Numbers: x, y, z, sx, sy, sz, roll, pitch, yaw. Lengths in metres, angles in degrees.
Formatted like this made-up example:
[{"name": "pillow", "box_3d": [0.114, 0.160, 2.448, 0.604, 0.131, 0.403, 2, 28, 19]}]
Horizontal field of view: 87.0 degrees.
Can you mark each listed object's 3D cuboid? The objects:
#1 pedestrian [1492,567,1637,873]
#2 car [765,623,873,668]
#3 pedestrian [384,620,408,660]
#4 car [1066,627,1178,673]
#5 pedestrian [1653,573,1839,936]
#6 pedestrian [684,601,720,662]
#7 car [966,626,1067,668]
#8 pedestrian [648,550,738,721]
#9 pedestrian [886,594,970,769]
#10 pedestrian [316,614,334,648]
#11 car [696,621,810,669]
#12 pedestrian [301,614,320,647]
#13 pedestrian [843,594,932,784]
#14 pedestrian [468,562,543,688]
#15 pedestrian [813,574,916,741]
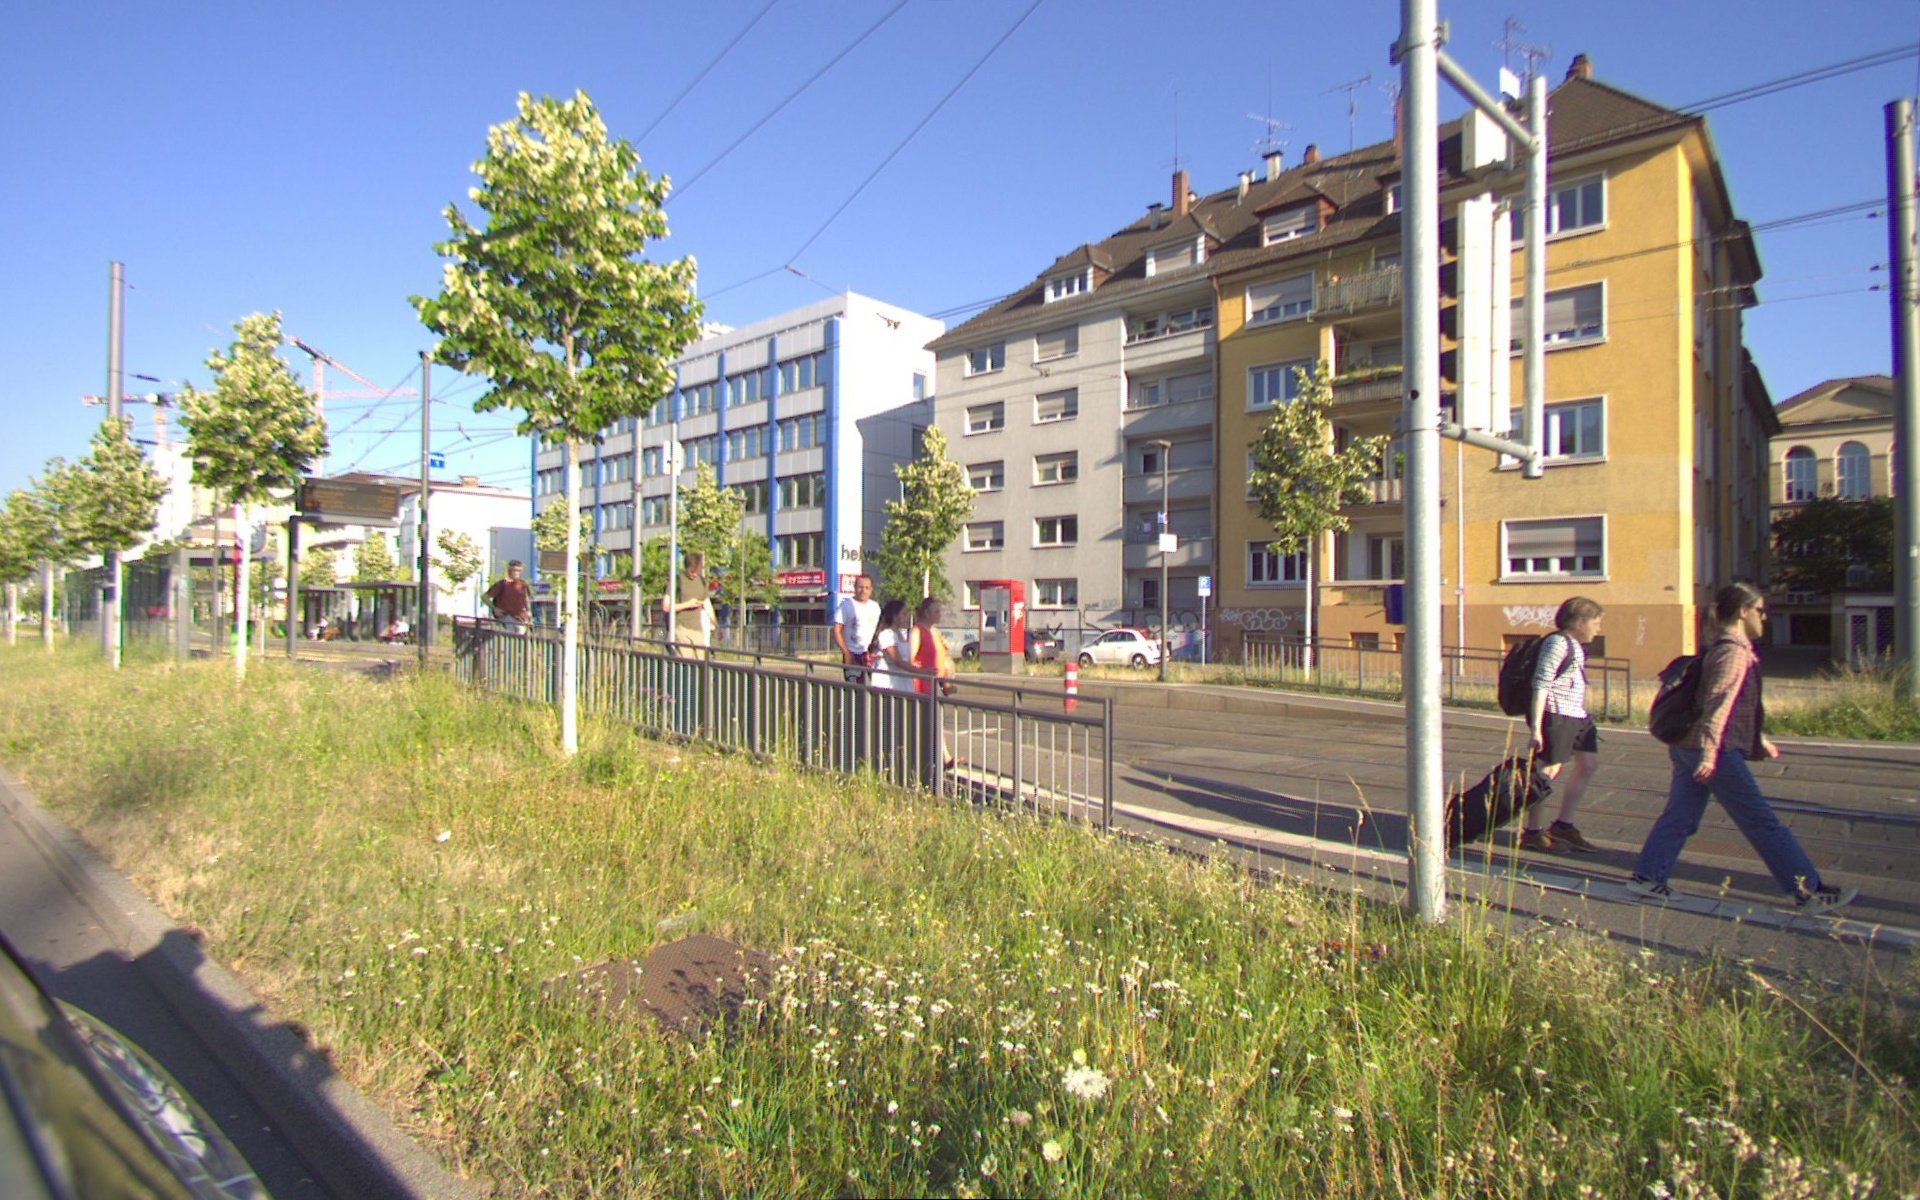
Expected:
[{"name": "pedestrian", "box_3d": [3.584, 0.653, 5.983, 0.619, 1.653, 0.778, -1, -1, 39]}, {"name": "car", "box_3d": [-5.284, 1.638, 37.657, 3.941, 1.519, 1.861, -1, 0, 41]}, {"name": "pedestrian", "box_3d": [-24.577, 1.736, 44.105, 0.771, 1.705, 0.651, -1, 0, 39]}, {"name": "car", "box_3d": [5.941, 1.811, 37.367, 3.672, 1.519, 1.861, -1, 0, 41]}, {"name": "pedestrian", "box_3d": [3.748, 0.659, 4.819, 0.619, 1.547, 0.777, -1, 0, 43]}, {"name": "pedestrian", "box_3d": [-7.362, 0.889, 28.913, 0.620, 1.685, 0.776, -1, 0, 44]}, {"name": "car", "box_3d": [2.217, 1.860, 40.493, 3.672, 1.519, 1.861, -1, 0, 41]}, {"name": "pedestrian", "box_3d": [-3.056, 0.386, 11.598, 0.620, 1.878, 0.776, -1, 0, 44]}, {"name": "pedestrian", "box_3d": [-0.268, 0.673, 8.735, 0.520, 1.442, 0.634, -1, 0, 18]}, {"name": "pedestrian", "box_3d": [-31.898, 1.555, 50.844, 0.650, 1.705, 0.773, -1, 0, -43]}, {"name": "car", "box_3d": [-7.219, 1.518, 35.145, 3.941, 1.519, 1.861, -1, 0, 41]}, {"name": "pedestrian", "box_3d": [-33.609, 1.577, 52.388, 0.772, 1.705, 0.651, -1, 0, 44]}, {"name": "pedestrian", "box_3d": [-0.575, 0.691, 8.186, 0.520, 1.467, 0.635, -1, 0, 16]}, {"name": "pedestrian", "box_3d": [-6.398, 0.337, 14.250, 0.620, 1.711, 0.776, -1, 0, 44]}, {"name": "pedestrian", "box_3d": [-0.931, 0.533, 9.928, 0.620, 1.560, 0.776, -1, 0, 44]}]
